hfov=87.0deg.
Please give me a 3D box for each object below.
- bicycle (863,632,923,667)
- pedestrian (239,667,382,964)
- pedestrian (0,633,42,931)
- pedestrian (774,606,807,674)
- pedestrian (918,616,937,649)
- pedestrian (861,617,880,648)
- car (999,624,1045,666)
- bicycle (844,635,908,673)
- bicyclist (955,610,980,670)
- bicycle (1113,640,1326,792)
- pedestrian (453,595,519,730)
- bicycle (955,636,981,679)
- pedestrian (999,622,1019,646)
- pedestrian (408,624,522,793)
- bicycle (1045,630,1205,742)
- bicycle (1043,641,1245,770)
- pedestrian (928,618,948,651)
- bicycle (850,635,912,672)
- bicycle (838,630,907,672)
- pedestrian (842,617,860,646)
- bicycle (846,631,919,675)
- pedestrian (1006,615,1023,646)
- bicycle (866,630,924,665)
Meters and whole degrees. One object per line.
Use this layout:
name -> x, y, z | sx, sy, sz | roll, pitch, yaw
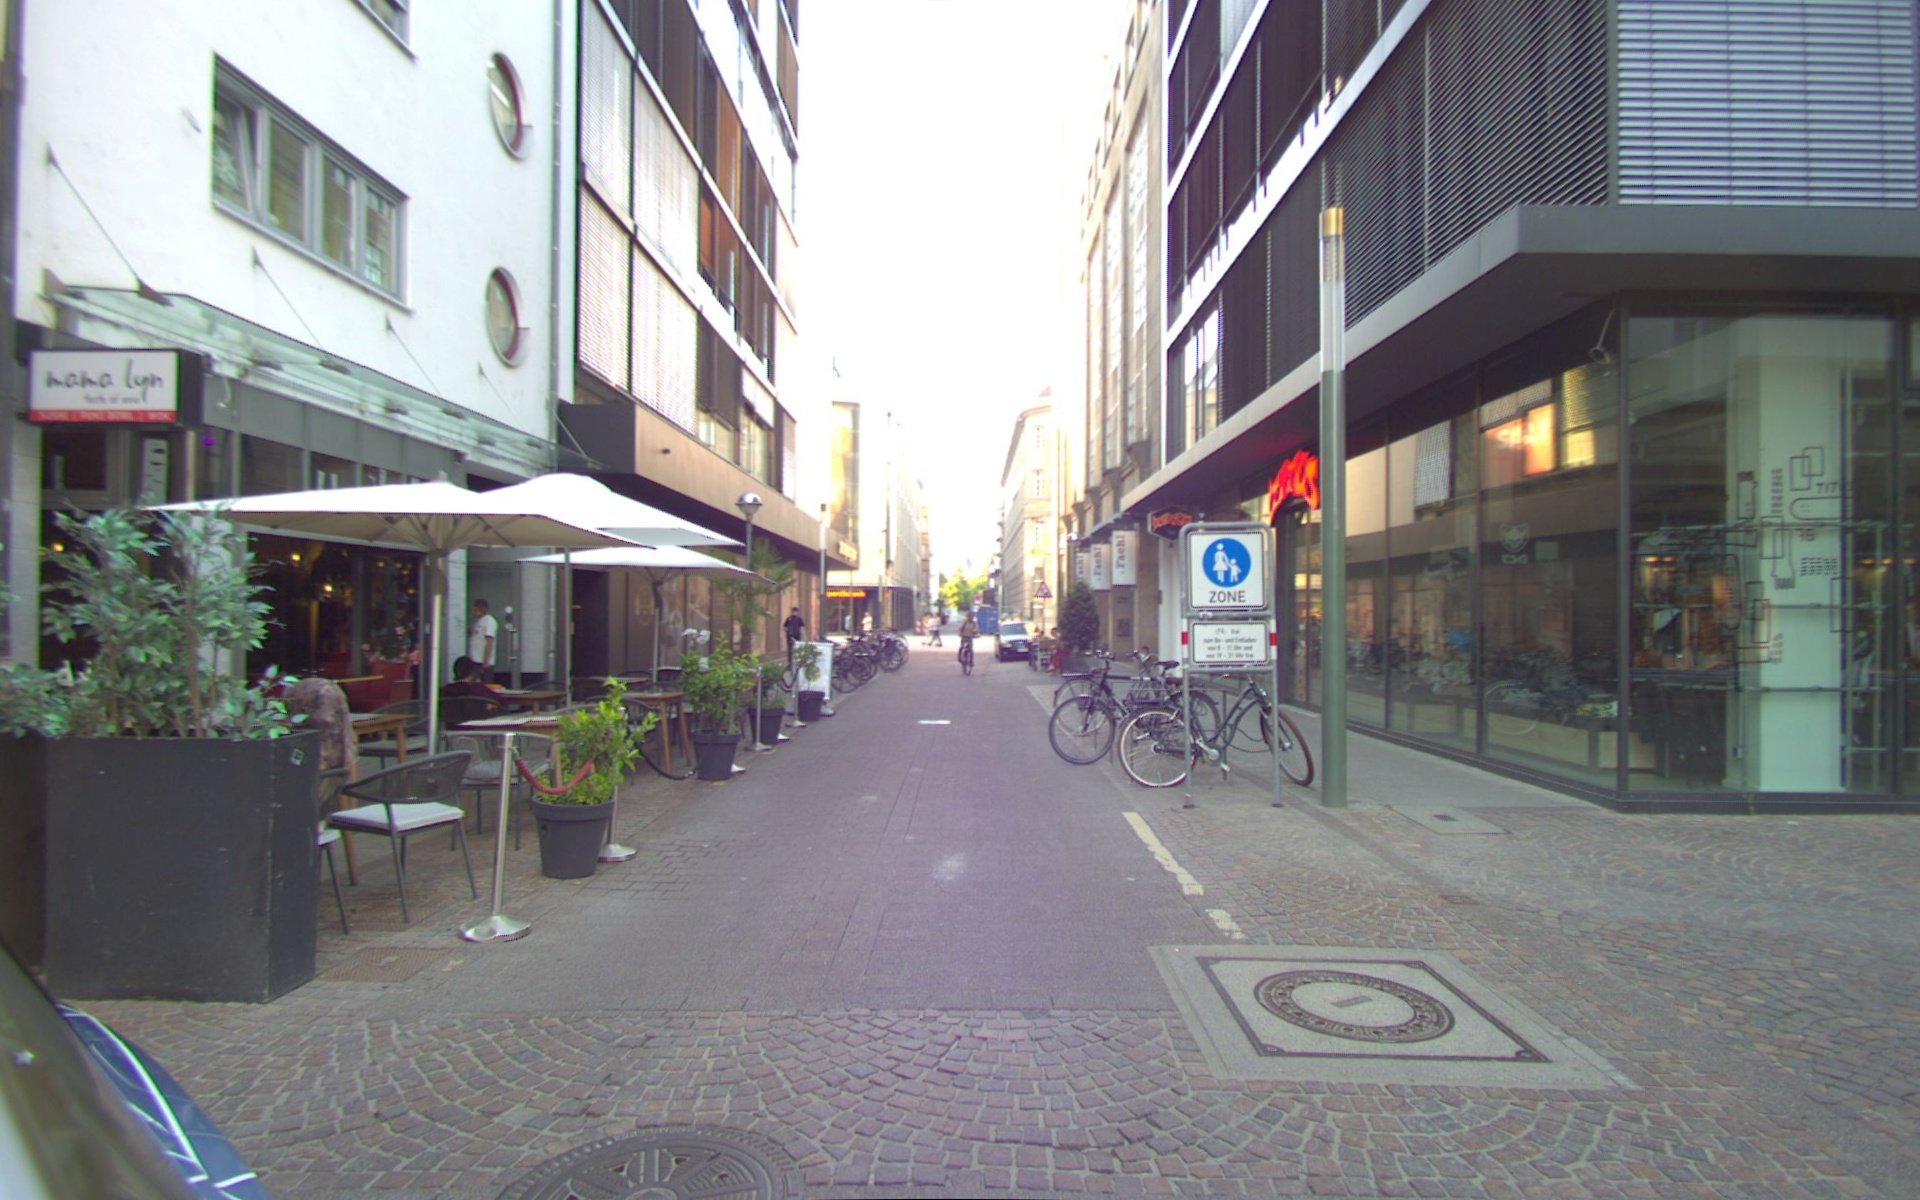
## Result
bicycle -> -2.291, 1.703, 34.749 | 2.011, 1.176, 0.619 | 0, -1, 0
pedestrian -> -2.850, 0.919, 4.467 | 0.394, 1.223, 0.384 | 0, -2, -9
pedestrian -> -4.414, 0.805, 4.438 | 0.356, 1.316, 0.496 | 1, -2, -13
pedestrian -> -4.702, 1.096, 28.102 | 0.793, 1.850, 0.674 | 0, -1, 3
pedestrian -> -1.645, 1.662, 51.630 | 0.769, 1.633, 0.638 | 1, -1, -22
pedestrian -> -4.857, 1.748, 54.801 | 0.783, 1.633, 0.627 | 0, -1, 42
car -> 2.301, 1.613, 37.131 | 1.583, 1.434, 3.599 | 0, -1, 4
bicycle -> -2.669, 1.708, 32.251 | 2.011, 1.176, 0.619 | 0, -1, 0
bicyclist -> 0.207, 1.119, 28.581 | 0.667, 1.683, 0.869 | 0, -2, 0
bicycle -> 2.204, 0.980, 8.714 | 1.648, 1.213, 0.509 | -2, -2, 1
pedestrian -> -6.438, 0.840, 13.775 | 0.631, 1.785, 0.603 | 0, -1, -4
bicycle -> 0.207, 1.598, 28.589 | 0.690, 1.137, 2.004 | 0, -1, 0
pedestrian -> 3.240, 2.224, 67.140 | 0.920, 1.584, 0.979 | -1, -2, 45
pedestrian -> -4.400, 0.928, 9.044 | 0.568, 1.431, 0.868 | 0, -1, 2
bicycle -> 2.079, 1.083, 12.913 | 1.878, 1.279, 0.538 | -3, -2, 2
bicycle -> 1.828, 1.050, 10.207 | 1.877, 1.190, 0.517 | -2, -3, 0
pedestrian -> -1.109, 1.714, 50.968 | 0.770, 1.633, 0.638 | 1, -1, -31
bicycle -> -2.593, 1.756, 33.350 | 2.011, 1.176, 0.619 | 0, -1, 0
bicycle -> -2.657, 1.552, 30.960 | 2.011, 1.176, 0.619 | 3, -1, 0
pedestrian -> -5.862, 1.703, 54.346 | 0.634, 1.536, 0.775 | 0, -1, 31
bicycle -> -2.242, 1.543, 29.516 | 2.011, 1.176, 0.665 | 3, -1, 0
pedestrian -> 2.999, 1.663, 55.680 | 0.758, 1.650, 0.665 | 0, -1, 15
bicycle -> -2.280, 1.676, 35.623 | 2.011, 1.225, 0.619 | 0, -1, 0
